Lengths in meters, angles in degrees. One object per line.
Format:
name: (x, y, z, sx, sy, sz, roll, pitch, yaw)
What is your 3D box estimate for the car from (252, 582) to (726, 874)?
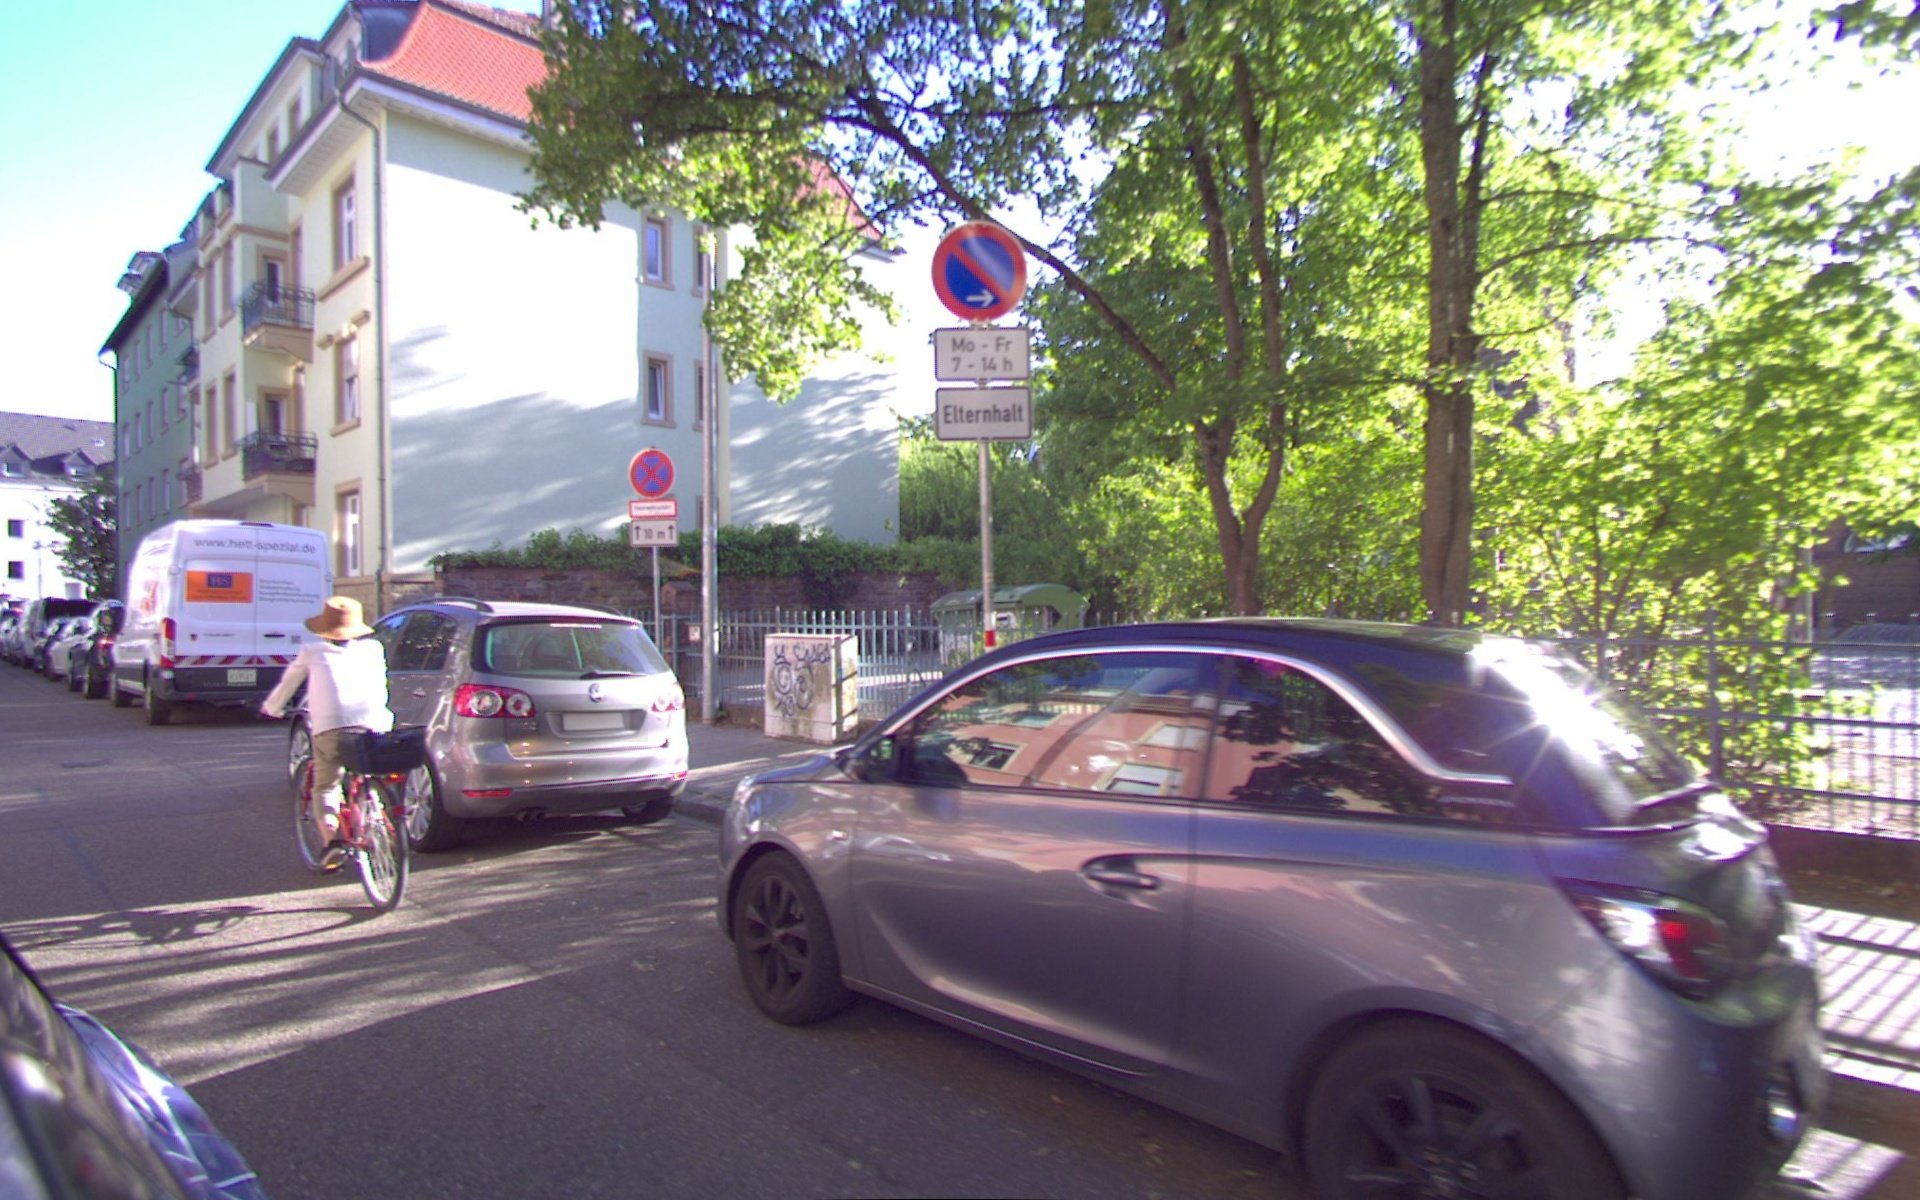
car: (-3.824, 0.770, 7.779, 4.469, 1.603, 1.760, -1, -3, 44)

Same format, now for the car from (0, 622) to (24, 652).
car: (-48.522, 1.831, 50.917, 4.207, 1.464, 1.746, -2, -4, 43)

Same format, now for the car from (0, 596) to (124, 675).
car: (-27.128, 1.053, 30.435, 5.242, 2.185, 2.227, -1, -3, 42)

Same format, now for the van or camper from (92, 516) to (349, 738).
van or camper: (-11.473, 0.418, 15.491, 5.853, 2.790, 2.105, -1, -3, 44)

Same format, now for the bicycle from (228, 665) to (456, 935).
bicycle: (-3.254, 0.926, 5.258, 0.657, 1.085, 1.686, -1, 0, -44)

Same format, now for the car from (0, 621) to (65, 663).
car: (-34.913, 1.524, 37.718, 4.505, 1.473, 1.702, -1, -3, 41)

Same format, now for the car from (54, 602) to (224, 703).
car: (-15.769, 0.951, 19.332, 4.970, 1.698, 1.854, -1, -3, 43)

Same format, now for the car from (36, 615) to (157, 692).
car: (-19.482, 1.133, 22.784, 4.089, 1.563, 1.617, 0, -1, 43)

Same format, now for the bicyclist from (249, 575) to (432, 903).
bicyclist: (-3.150, 0.642, 5.147, 0.644, 1.520, 0.625, -1, 0, -44)

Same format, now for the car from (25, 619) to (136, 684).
car: (-22.814, 1.261, 26.183, 4.826, 1.533, 1.746, -1, -2, 44)

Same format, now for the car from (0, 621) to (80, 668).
car: (-31.293, 1.478, 34.233, 4.363, 1.473, 1.813, -1, -3, 43)

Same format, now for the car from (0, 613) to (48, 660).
car: (-39.311, 1.496, 41.934, 4.415, 1.857, 1.752, -1, -3, 42)

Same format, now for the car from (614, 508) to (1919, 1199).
car: (0.607, 0.733, 3.431, 4.153, 1.585, 1.657, -1, -4, 45)
